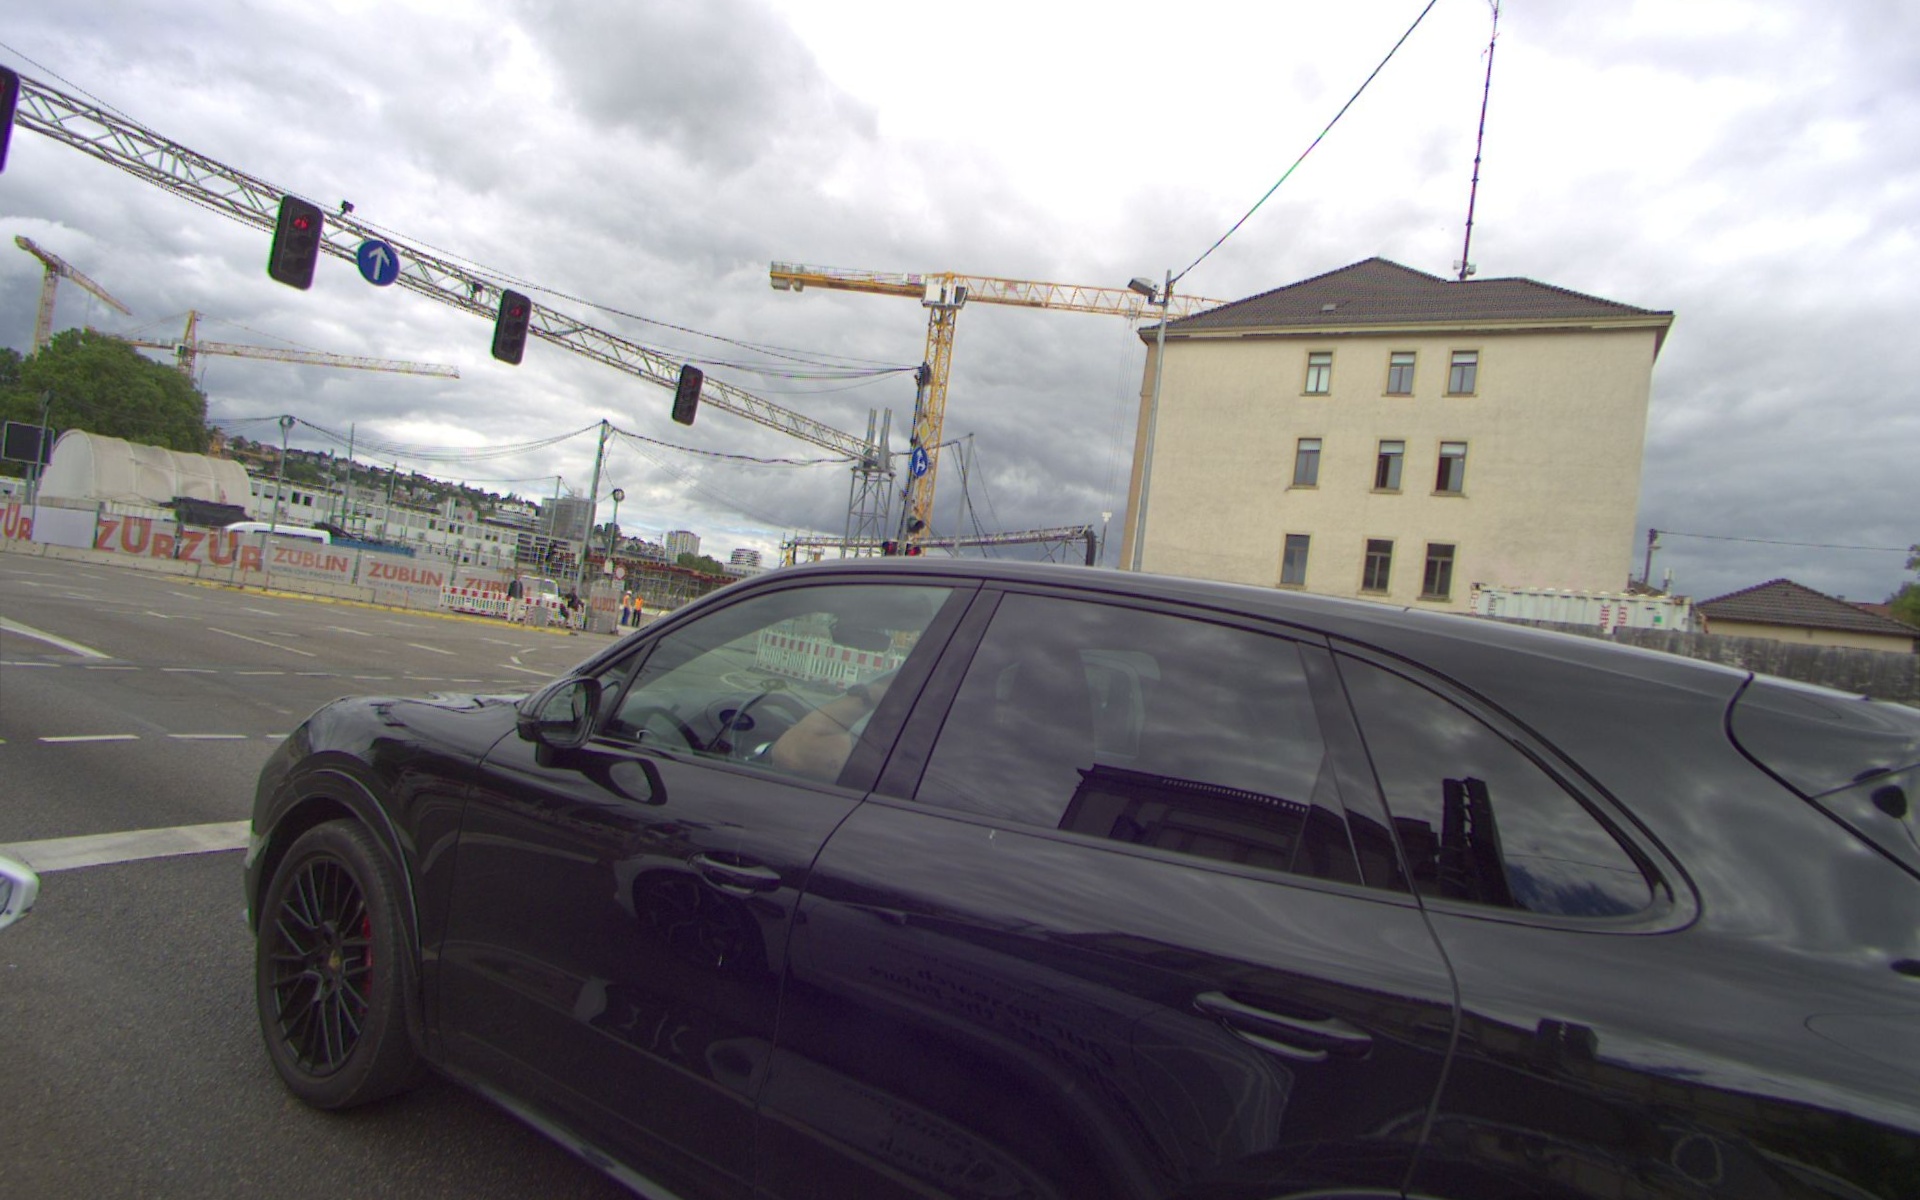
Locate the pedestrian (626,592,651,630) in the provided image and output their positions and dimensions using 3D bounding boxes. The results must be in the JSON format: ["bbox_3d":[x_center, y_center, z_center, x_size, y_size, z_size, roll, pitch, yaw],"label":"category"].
[{"bbox_3d":[-17.471,0.602,54.664,0.850,1.938,0.680,7,-1,26],"label":"pedestrian"}]

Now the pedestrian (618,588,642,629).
[{"bbox_3d":[-17.643,0.447,53.816,0.855,2.037,0.677,6,-1,44],"label":"pedestrian"}]

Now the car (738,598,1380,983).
[{"bbox_3d":[0.575,0.998,6.542,3.587,1.527,1.825,6,-2,33],"label":"car"}]

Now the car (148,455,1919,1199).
[{"bbox_3d":[-0.007,0.688,2.705,4.505,1.687,1.997,6,-2,34],"label":"car"}]

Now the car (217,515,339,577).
[{"bbox_3d":[-29.527,-2.328,43.635,3.976,2.037,1.976,9,-2,-43],"label":"car"}]

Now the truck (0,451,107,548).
[{"bbox_3d":[-57.727,-6.349,60.193,3.054,5.017,9.759,7,-2,14],"label":"truck"}]

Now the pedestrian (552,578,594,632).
[{"bbox_3d":[-15.935,0.206,41.430,1.019,2.037,1.043,6,-1,38],"label":"pedestrian"}]

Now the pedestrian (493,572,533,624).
[{"bbox_3d":[-17.442,-0.066,39.264,1.040,1.869,0.781,8,-1,-42],"label":"pedestrian"}]
